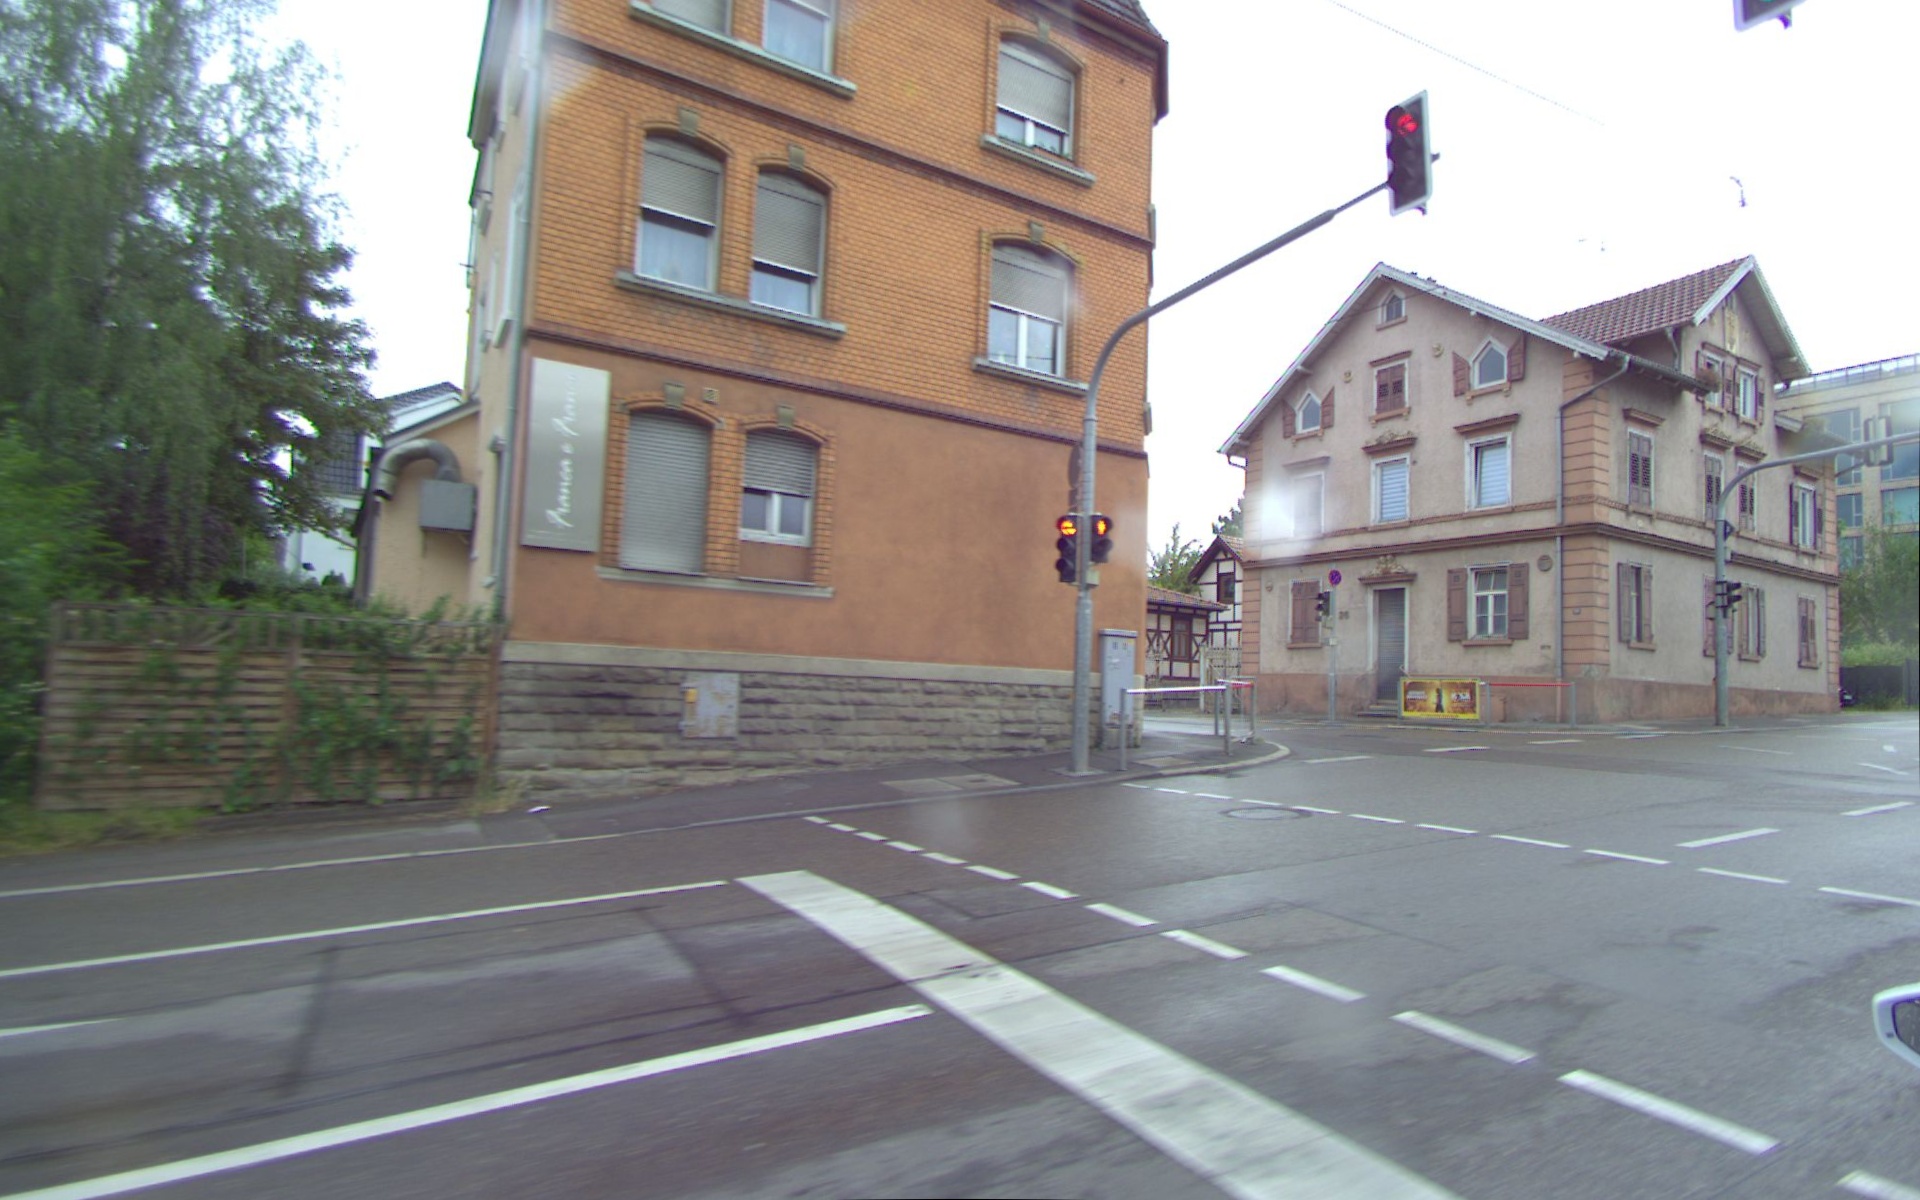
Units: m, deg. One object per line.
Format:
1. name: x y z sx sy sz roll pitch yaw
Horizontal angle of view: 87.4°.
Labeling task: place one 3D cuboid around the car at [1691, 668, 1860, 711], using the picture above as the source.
1. car: 26.278 2.864 32.490 1.591 1.178 3.963 3 -4 -34
